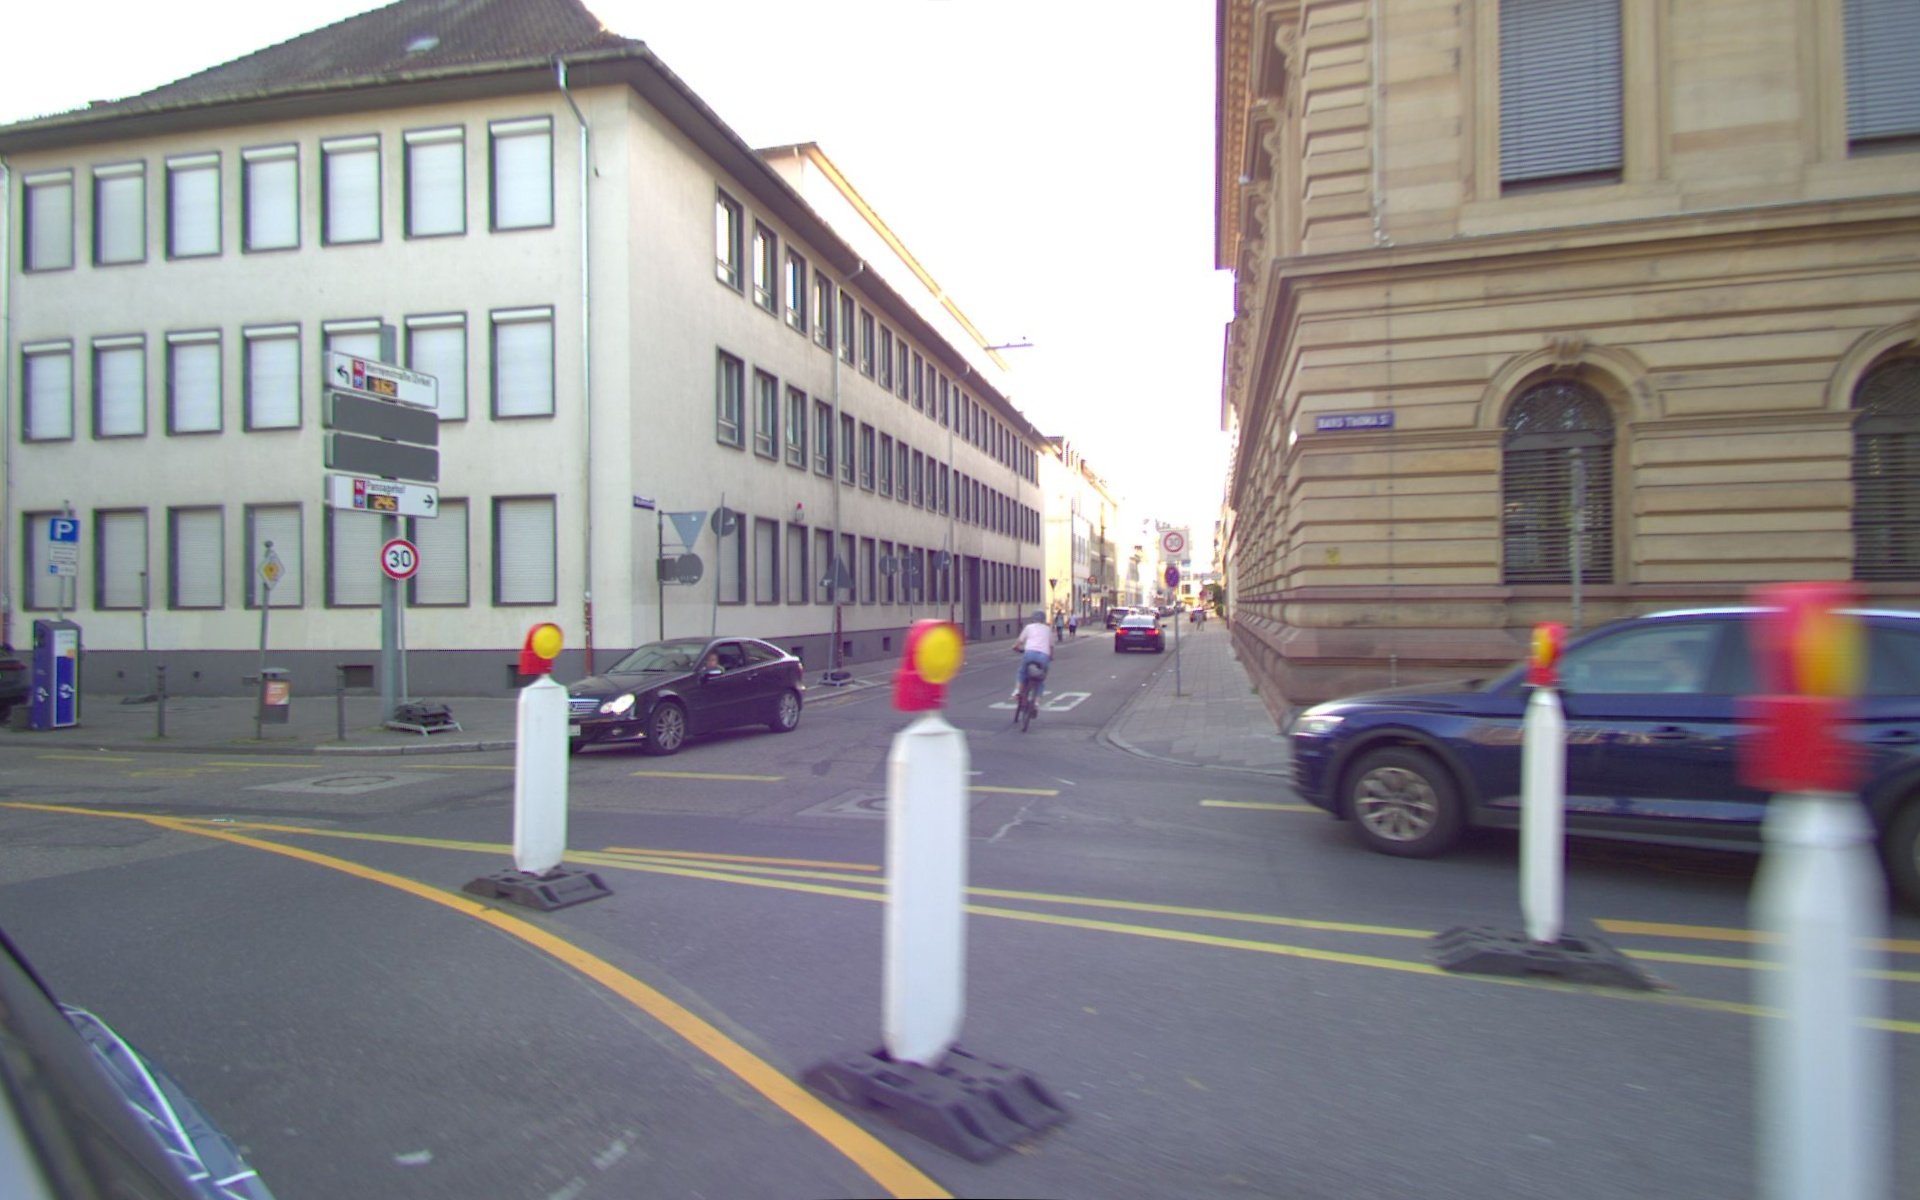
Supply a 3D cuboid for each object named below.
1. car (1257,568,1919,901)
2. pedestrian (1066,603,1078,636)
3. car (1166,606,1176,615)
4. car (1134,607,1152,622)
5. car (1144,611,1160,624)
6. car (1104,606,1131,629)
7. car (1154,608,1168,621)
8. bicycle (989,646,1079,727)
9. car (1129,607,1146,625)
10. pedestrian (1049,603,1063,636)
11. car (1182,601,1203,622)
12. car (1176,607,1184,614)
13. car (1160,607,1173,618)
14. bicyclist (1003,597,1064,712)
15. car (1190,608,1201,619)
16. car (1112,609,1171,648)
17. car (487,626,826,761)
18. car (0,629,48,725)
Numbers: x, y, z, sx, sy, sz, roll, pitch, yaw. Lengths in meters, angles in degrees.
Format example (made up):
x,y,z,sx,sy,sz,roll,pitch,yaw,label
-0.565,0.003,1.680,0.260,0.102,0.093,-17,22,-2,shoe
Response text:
x,y,z,sx,sy,sz,roll,pitch,yaw,label
4.516,0.713,6.513,4.646,1.683,1.860,-1,-2,36,car
6.138,1.061,55.313,0.551,1.794,0.642,-1,-1,13,pedestrian
43.349,2.225,207.615,1.768,1.846,3.890,-1,-1,15,car
19.812,1.561,109.423,1.736,1.533,3.841,-1,-1,13,car
23.417,2.134,123.515,1.736,1.533,3.841,-1,-1,13,car
12.631,1.411,80.920,1.768,1.697,3.981,0,-3,15,car
30.876,2.226,155.506,1.768,1.846,3.890,-1,-1,15,car
1.026,1.205,14.604,0.628,0.999,2.131,0,-1,-15,bicycle
17.922,1.640,102.138,1.430,1.632,3.462,0,-3,14,car
5.192,1.043,54.839,0.704,1.785,0.559,-1,-1,13,pedestrian
24.688,1.256,107.499,1.858,2.029,3.977,0,-3,17,car
54.990,2.610,252.579,1.768,1.846,3.890,-1,-1,15,car
33.539,2.046,164.540,1.768,1.846,3.890,-1,-1,15,car
1.046,0.766,14.505,0.633,1.589,0.766,0,-1,-16,bicyclist
33.000,1.868,141.879,1.430,1.475,3.385,-1,-1,14,car
7.354,1.104,40.746,1.981,1.453,4.302,-1,-1,15,car
-3.701,1.070,13.376,1.754,1.332,4.741,-1,0,22,car
-17.887,1.303,16.566,4.735,1.519,1.876,-1,1,10,car
